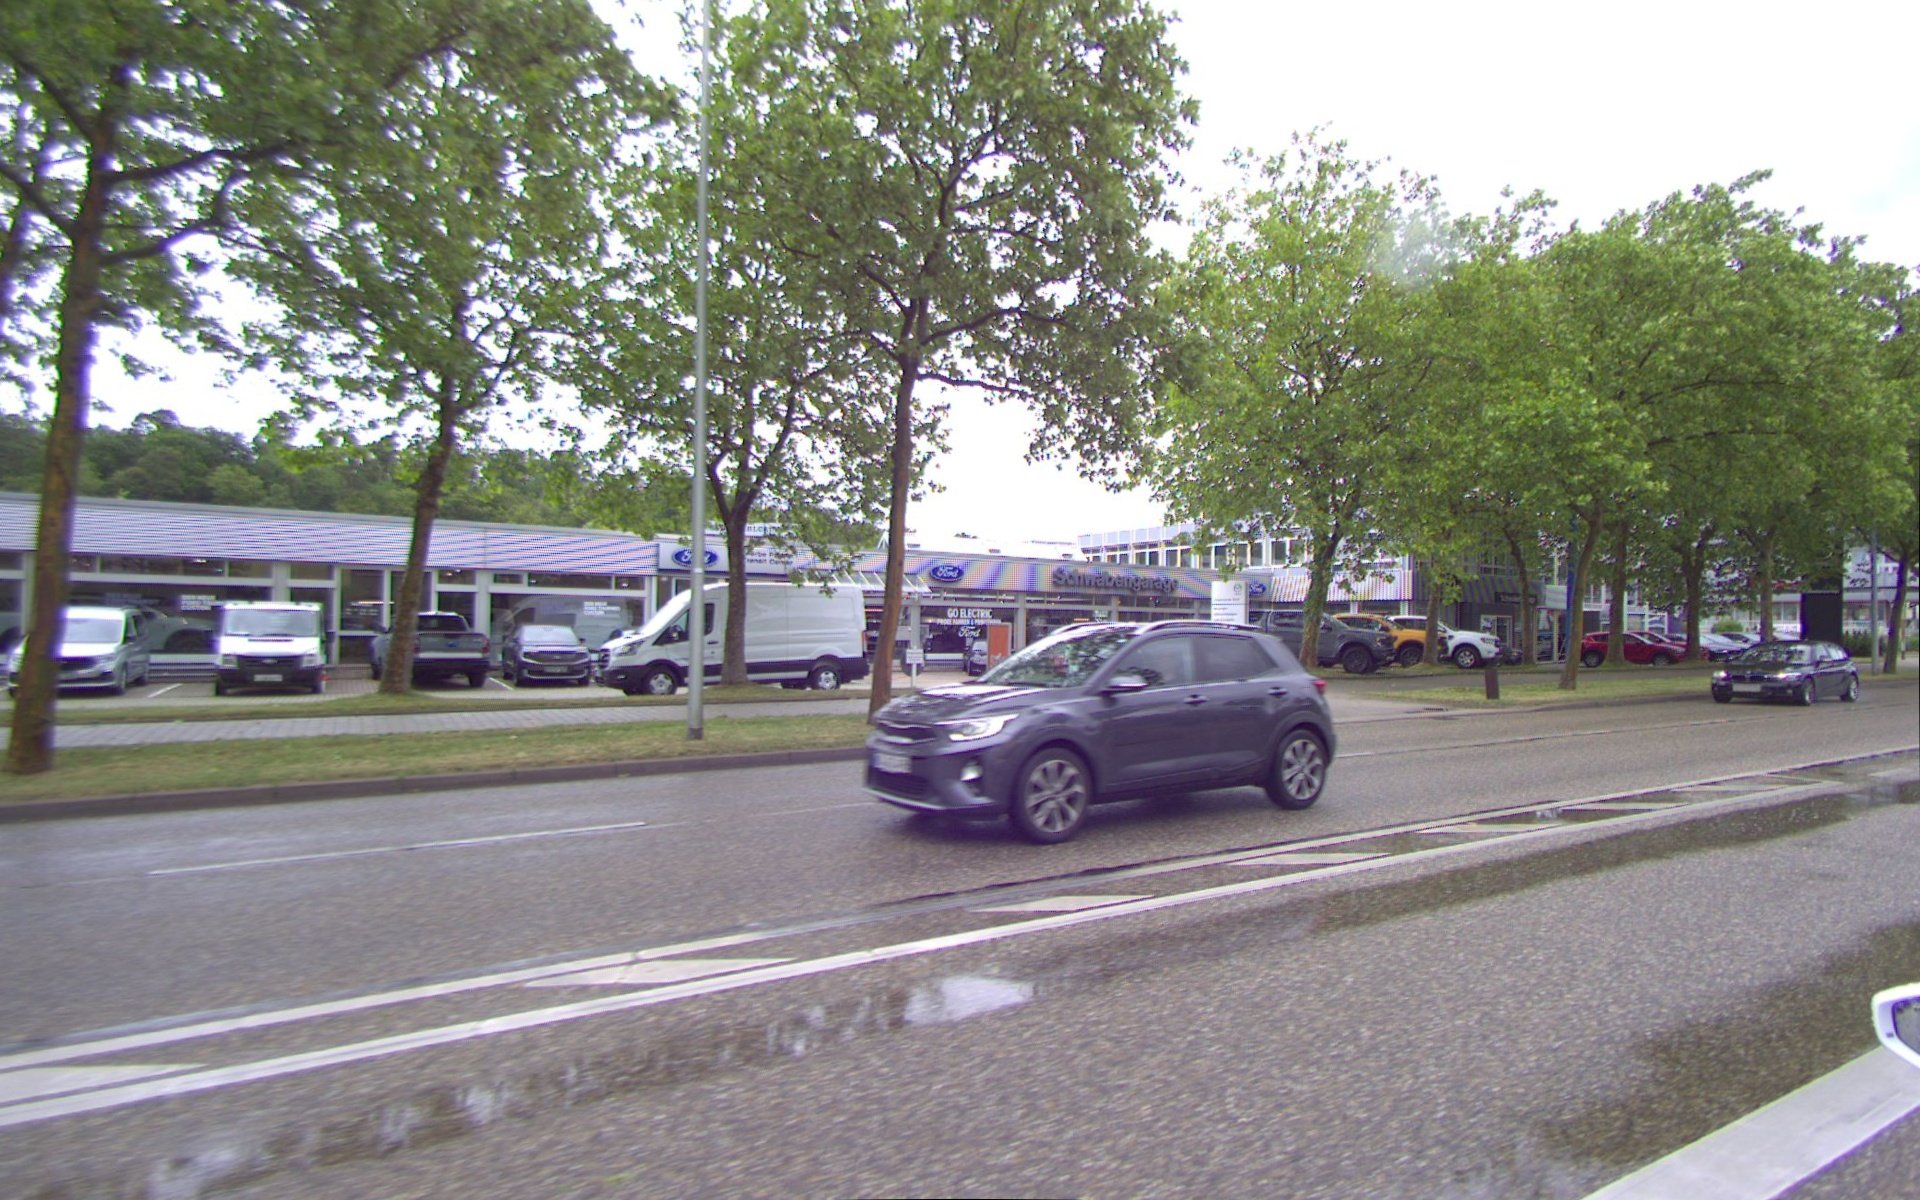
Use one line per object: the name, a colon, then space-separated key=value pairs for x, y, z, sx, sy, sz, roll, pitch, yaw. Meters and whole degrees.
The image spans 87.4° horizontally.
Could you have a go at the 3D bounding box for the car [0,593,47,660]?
car: x=-28.835 y=0.702 z=28.972 sx=5.258 sy=1.862 sz=2.385 roll=1 pitch=-1 yaw=33

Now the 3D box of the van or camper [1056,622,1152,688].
van or camper: x=4.183 y=1.581 z=29.963 sx=1.804 sy=1.808 sz=4.644 roll=0 pitch=-1 yaw=-5

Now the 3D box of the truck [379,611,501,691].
truck: x=-13.257 y=1.246 z=25.514 sx=1.983 sy=1.862 sz=3.955 roll=2 pitch=-2 yaw=-39

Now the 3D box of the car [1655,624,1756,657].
car: x=39.017 y=2.140 z=52.680 sx=4.165 sy=1.617 sz=1.993 roll=-3 pitch=-3 yaw=37

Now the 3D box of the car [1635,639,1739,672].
car: x=36.756 y=2.793 z=50.845 sx=4.165 sy=1.617 sz=1.993 roll=-2 pitch=-3 yaw=37

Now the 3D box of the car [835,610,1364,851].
car: x=1.225 y=0.872 z=8.030 sx=4.136 sy=1.481 sz=1.657 roll=1 pitch=-2 yaw=-33

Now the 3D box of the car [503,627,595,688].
car: x=-11.209 y=1.493 z=27.259 sx=2.008 sy=1.480 sz=3.973 roll=1 pitch=-1 yaw=-27

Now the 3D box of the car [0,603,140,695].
car: x=-19.170 y=0.990 z=21.605 sx=1.861 sy=1.790 sz=3.965 roll=1 pitch=-2 yaw=-32

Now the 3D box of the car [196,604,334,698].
car: x=-16.139 y=1.116 z=23.540 sx=2.390 sy=1.928 sz=5.344 roll=1 pitch=-2 yaw=-33

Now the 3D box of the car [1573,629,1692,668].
car: x=31.254 y=2.229 z=46.750 sx=4.497 sy=1.617 sz=1.992 roll=1 pitch=-1 yaw=38

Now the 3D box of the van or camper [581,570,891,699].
van or camper: x=-4.786 y=0.731 z=22.067 sx=6.331 sy=2.503 sz=1.982 roll=1 pitch=0 yaw=-33

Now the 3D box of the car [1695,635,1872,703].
car: x=19.006 y=1.534 z=23.138 sx=4.484 sy=1.448 sz=1.728 roll=1 pitch=-2 yaw=-31

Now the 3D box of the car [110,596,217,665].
car: x=-22.117 y=0.838 z=28.038 sx=1.844 sy=1.790 sz=3.966 roll=1 pitch=-1 yaw=-32

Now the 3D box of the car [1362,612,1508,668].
car: x=16.875 y=1.383 z=35.740 sx=4.398 sy=1.840 sz=1.992 roll=-1 pitch=-2 yaw=38

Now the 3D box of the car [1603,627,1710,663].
car: x=33.872 y=2.214 z=48.887 sx=4.165 sy=1.674 sz=2.005 roll=-2 pitch=-3 yaw=37

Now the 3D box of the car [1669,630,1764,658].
car: x=40.198 y=2.326 z=53.408 sx=1.673 sy=1.409 sz=3.716 roll=1 pitch=-2 yaw=-34

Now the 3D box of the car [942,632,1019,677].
car: x=0.680 y=1.917 z=36.111 sx=1.574 sy=1.487 sz=3.893 roll=1 pitch=-1 yaw=-18

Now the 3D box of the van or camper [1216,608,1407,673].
van or camper: x=10.888 y=1.216 z=31.272 sx=5.212 sy=1.845 sz=2.260 roll=-1 pitch=-2 yaw=35

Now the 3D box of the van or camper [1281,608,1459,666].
van or camper: x=13.953 y=1.265 z=34.326 sx=5.290 sy=1.792 sz=2.098 roll=-1 pitch=-5 yaw=38

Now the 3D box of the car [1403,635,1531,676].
car: x=20.027 y=2.149 z=39.741 sx=4.390 sy=1.469 sz=1.996 roll=0 pitch=-1 yaw=32
